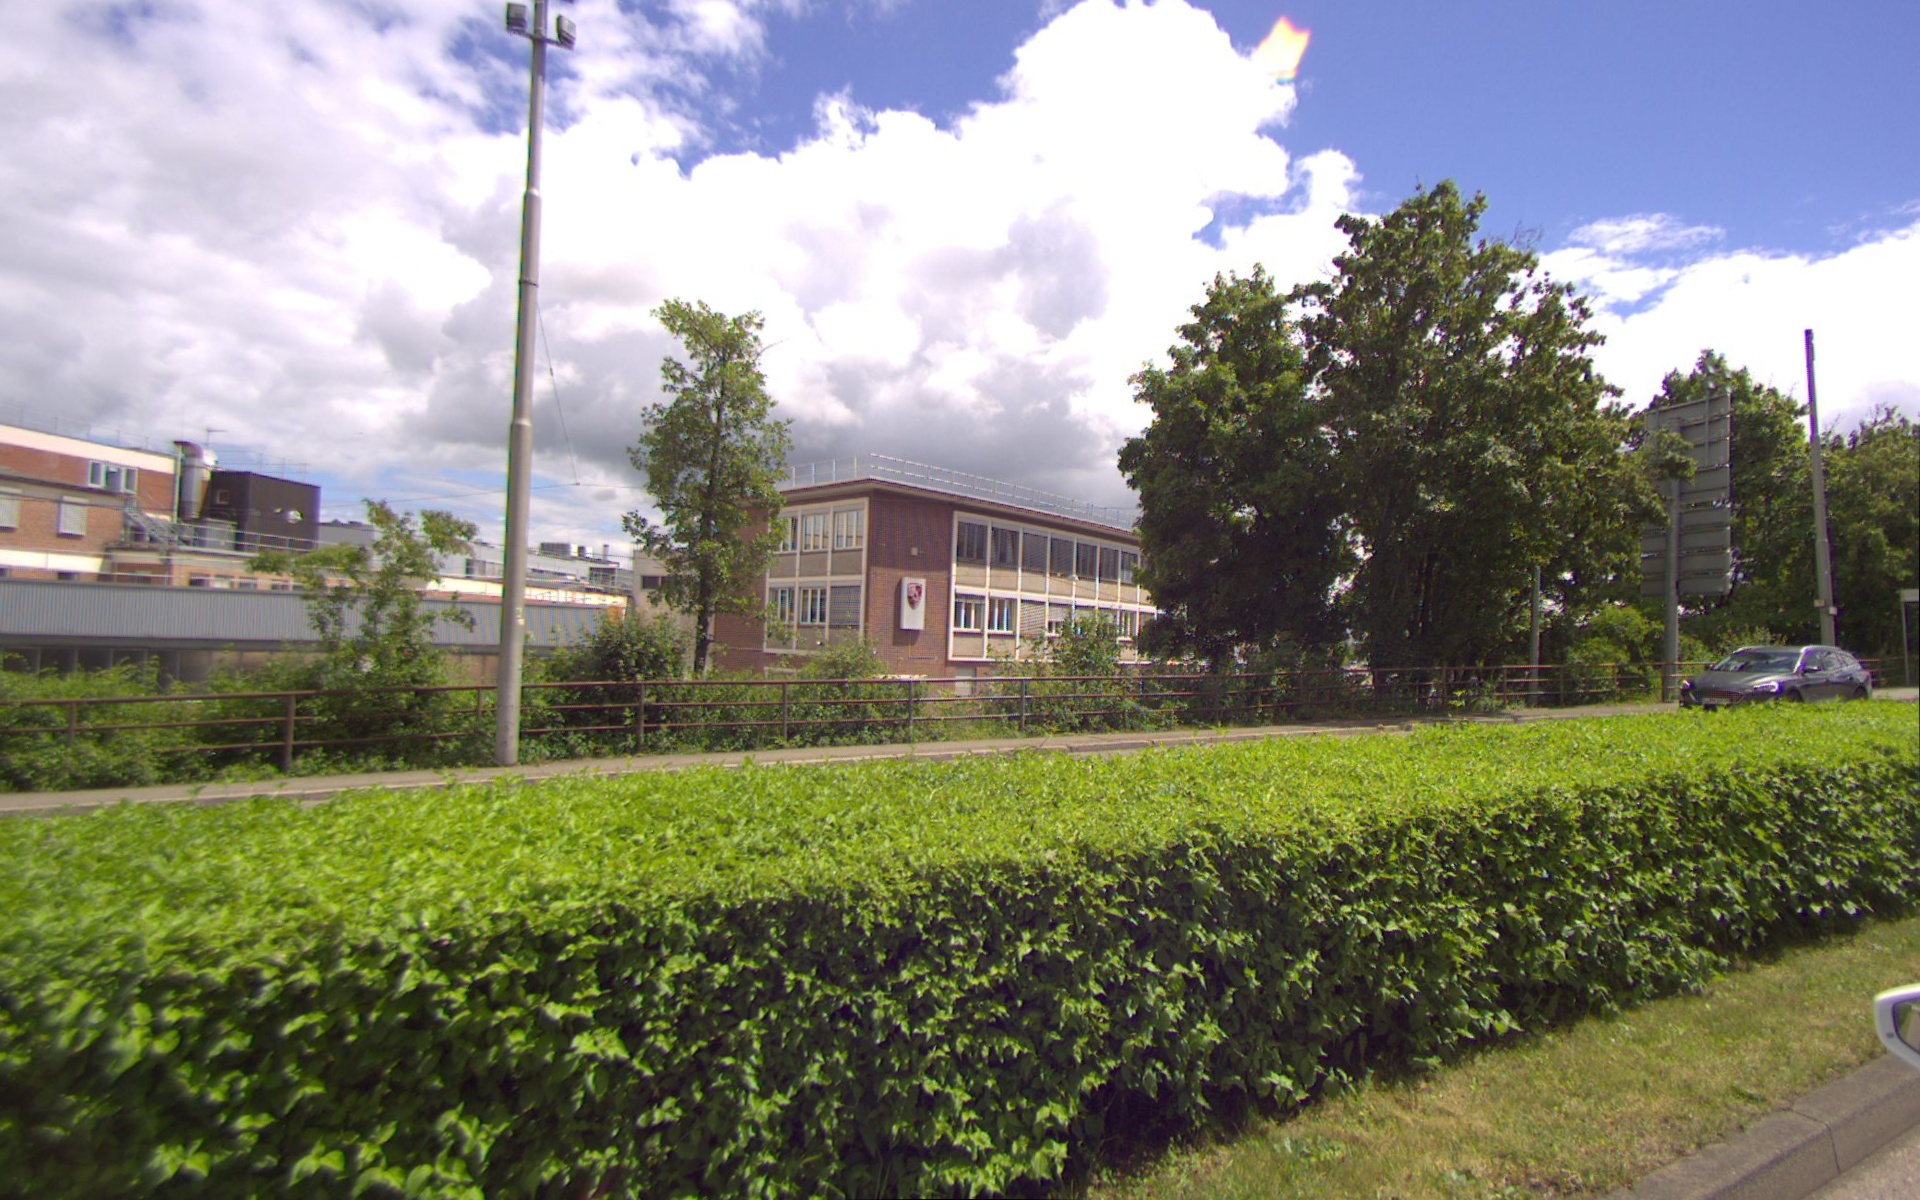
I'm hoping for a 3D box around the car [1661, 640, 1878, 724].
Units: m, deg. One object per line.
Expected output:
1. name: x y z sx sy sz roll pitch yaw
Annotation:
1. car: 16.322 1.571 20.216 4.505 1.527 1.832 1 -2 -29
